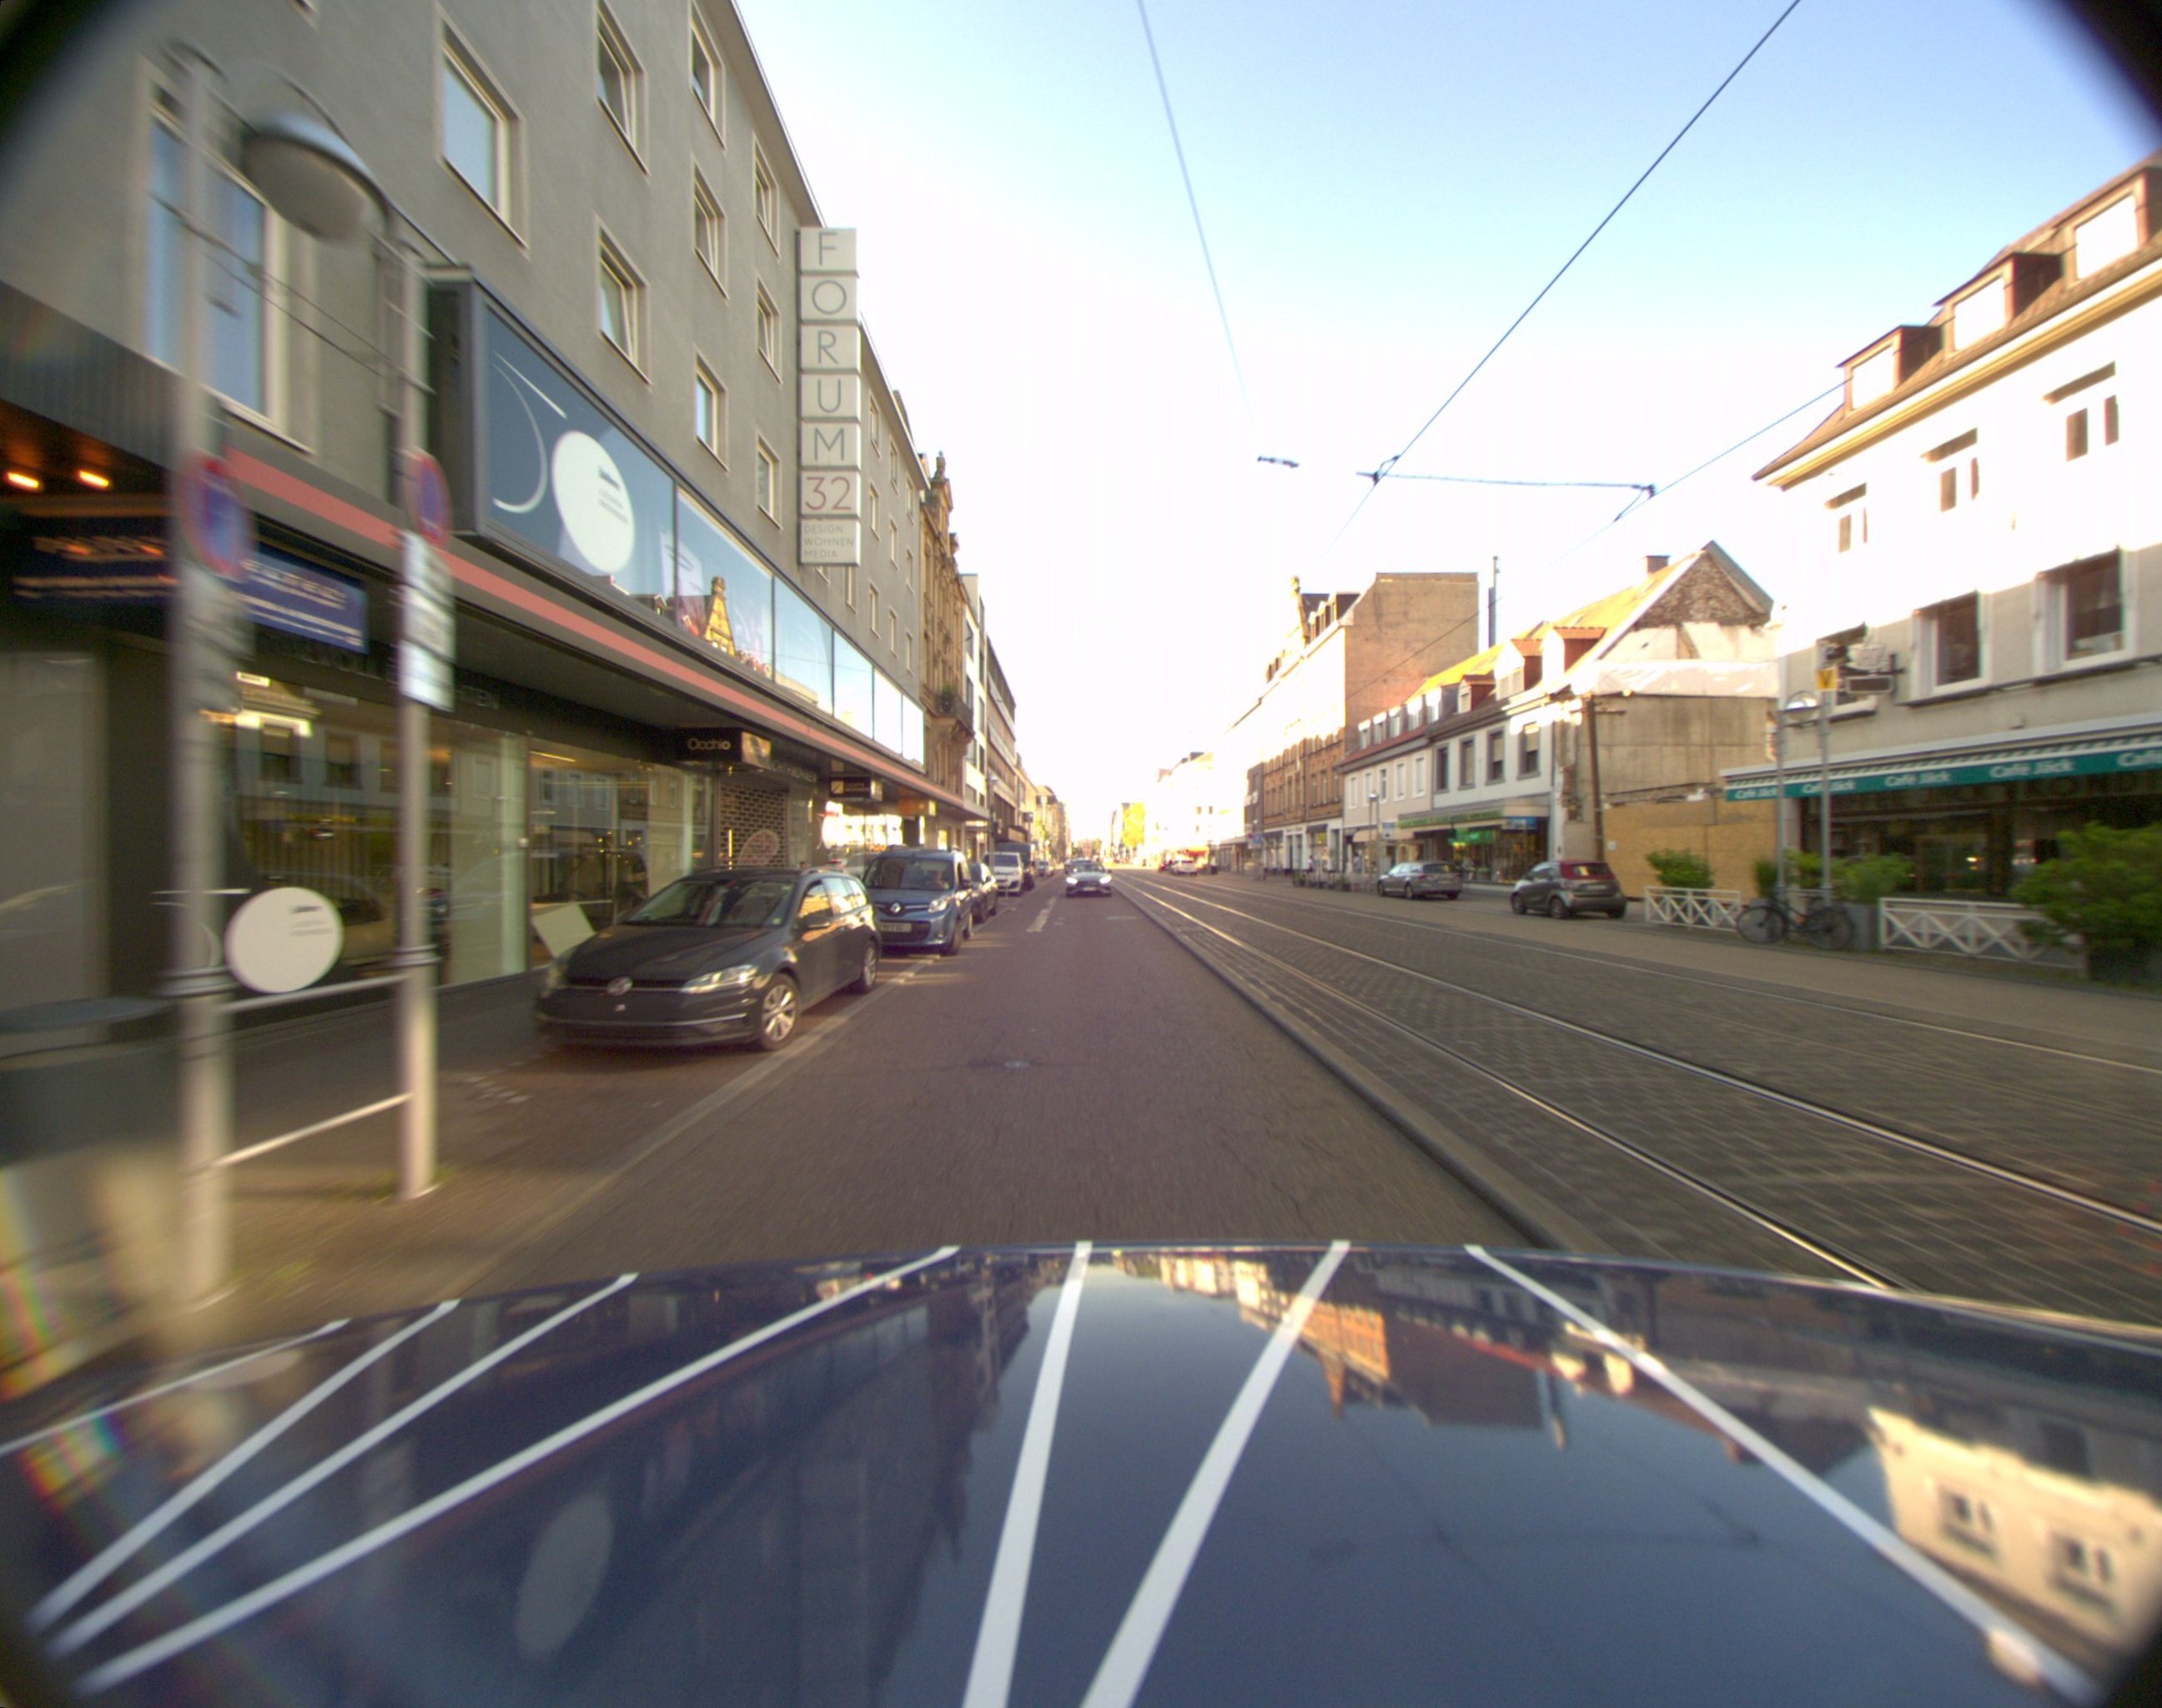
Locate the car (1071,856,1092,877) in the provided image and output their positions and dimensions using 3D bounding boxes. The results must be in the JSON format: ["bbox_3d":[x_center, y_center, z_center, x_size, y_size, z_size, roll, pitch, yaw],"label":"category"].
[{"bbox_3d":[0.020,0.988,62.490,1.630,1.593,3.330,2,1,0],"label":"car"}]

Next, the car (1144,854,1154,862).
[{"bbox_3d":[13.744,0.845,153.120,1.630,1.524,3.463,2,1,0],"label":"car"}]

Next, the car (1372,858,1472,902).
[{"bbox_3d":[13.296,0.959,29.955,1.822,1.505,4.762,-1,0,0],"label":"car"}]

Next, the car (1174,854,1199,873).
[{"bbox_3d":[9.785,0.851,70.809,1.802,1.625,3.675,0,1,0],"label":"car"}]

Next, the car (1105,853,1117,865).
[{"bbox_3d":[5.309,0.923,136.642,1.998,2.002,4.000,-2,1,1],"label":"car"}]

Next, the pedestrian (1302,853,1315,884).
[{"bbox_3d":[13.333,0.830,44.539,0.581,1.795,0.659,-2,1,12],"label":"pedestrian"}]

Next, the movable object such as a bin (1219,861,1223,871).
[{"bbox_3d":[14.564,1.250,78.962,0.325,0.942,0.467,0,1,0],"label":"movable object such as a bin"}]

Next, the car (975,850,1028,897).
[{"bbox_3d":[-3.439,0.791,33.661,2.052,1.899,4.877,1,0,-3],"label":"car"}]

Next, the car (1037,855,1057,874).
[{"bbox_3d":[-3.073,0.935,69.168,1.630,1.543,3.508,2,1,0],"label":"car"}]

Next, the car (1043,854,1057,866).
[{"bbox_3d":[-3.757,0.714,92.505,1.630,1.342,3.330,2,1,0],"label":"car"}]

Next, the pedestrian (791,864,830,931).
[{"bbox_3d":[-5.993,0.957,16.880,0.577,1.431,0.731,2,1,0],"label":"pedestrian"}]

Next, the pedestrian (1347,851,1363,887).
[{"bbox_3d":[14.490,0.779,40.123,0.657,1.838,0.583,-2,1,30],"label":"pedestrian"}]

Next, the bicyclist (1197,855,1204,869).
[{"bbox_3d":[13.111,0.864,83.099,0.576,1.538,0.861,-2,1,0],"label":"bicyclist"}]

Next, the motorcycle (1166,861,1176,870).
[{"bbox_3d":[9.724,1.220,82.209,0.907,0.987,1.935,1,1,0],"label":"motorcycle"}]

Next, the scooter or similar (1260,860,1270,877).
[{"bbox_3d":[13.635,1.100,56.248,0.404,1.216,1.202,-2,1,0],"label":"scooter or similar"}]

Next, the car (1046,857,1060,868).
[{"bbox_3d":[-3.634,1.055,98.623,1.630,1.342,3.463,2,0,0],"label":"car"}]

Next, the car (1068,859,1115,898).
[{"bbox_3d":[0.403,0.966,32.212,1.858,1.463,4.785,0,0,0],"label":"car"}]

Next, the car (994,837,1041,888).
[{"bbox_3d":[-3.317,0.500,40.863,2.051,2.486,5.687,-2,-1,-1],"label":"car"}]

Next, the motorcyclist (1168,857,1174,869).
[{"bbox_3d":[9.756,0.988,82.196,0.540,1.295,0.655,1,1,0],"label":"motorcyclist"}]

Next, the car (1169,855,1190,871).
[{"bbox_3d":[10.059,0.901,77.762,1.667,1.521,3.999,1,0,0],"label":"car"}]

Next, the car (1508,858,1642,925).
[{"bbox_3d":[13.201,0.942,20.498,1.701,1.594,2.891,-2,1,0],"label":"car"}]

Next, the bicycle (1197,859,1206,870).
[{"bbox_3d":[13.126,1.164,83.071,0.610,1.142,2.100,-2,1,0],"label":"bicycle"}]

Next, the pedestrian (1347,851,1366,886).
[{"bbox_3d":[14.210,0.750,39.231,0.658,1.752,0.581,-2,1,-8],"label":"pedestrian"}]

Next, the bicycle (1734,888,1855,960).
[{"bbox_3d":[12.482,1.190,13.364,0.519,1.084,1.716,-2,1,0],"label":"bicycle"}]

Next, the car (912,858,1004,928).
[{"bbox_3d":[-3.125,0.946,20.162,1.768,1.568,4.287,2,0,-1],"label":"car"}]

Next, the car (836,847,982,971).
[{"bbox_3d":[-2.882,0.814,13.691,1.821,1.849,4.548,1,0,-3],"label":"car"}]

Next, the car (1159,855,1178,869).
[{"bbox_3d":[10.046,0.853,87.179,1.667,1.521,3.999,1,0,0],"label":"car"}]

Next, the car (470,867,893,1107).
[{"bbox_3d":[-3.251,0.938,7.347,1.726,1.476,4.416,2,0,0],"label":"car"}]
